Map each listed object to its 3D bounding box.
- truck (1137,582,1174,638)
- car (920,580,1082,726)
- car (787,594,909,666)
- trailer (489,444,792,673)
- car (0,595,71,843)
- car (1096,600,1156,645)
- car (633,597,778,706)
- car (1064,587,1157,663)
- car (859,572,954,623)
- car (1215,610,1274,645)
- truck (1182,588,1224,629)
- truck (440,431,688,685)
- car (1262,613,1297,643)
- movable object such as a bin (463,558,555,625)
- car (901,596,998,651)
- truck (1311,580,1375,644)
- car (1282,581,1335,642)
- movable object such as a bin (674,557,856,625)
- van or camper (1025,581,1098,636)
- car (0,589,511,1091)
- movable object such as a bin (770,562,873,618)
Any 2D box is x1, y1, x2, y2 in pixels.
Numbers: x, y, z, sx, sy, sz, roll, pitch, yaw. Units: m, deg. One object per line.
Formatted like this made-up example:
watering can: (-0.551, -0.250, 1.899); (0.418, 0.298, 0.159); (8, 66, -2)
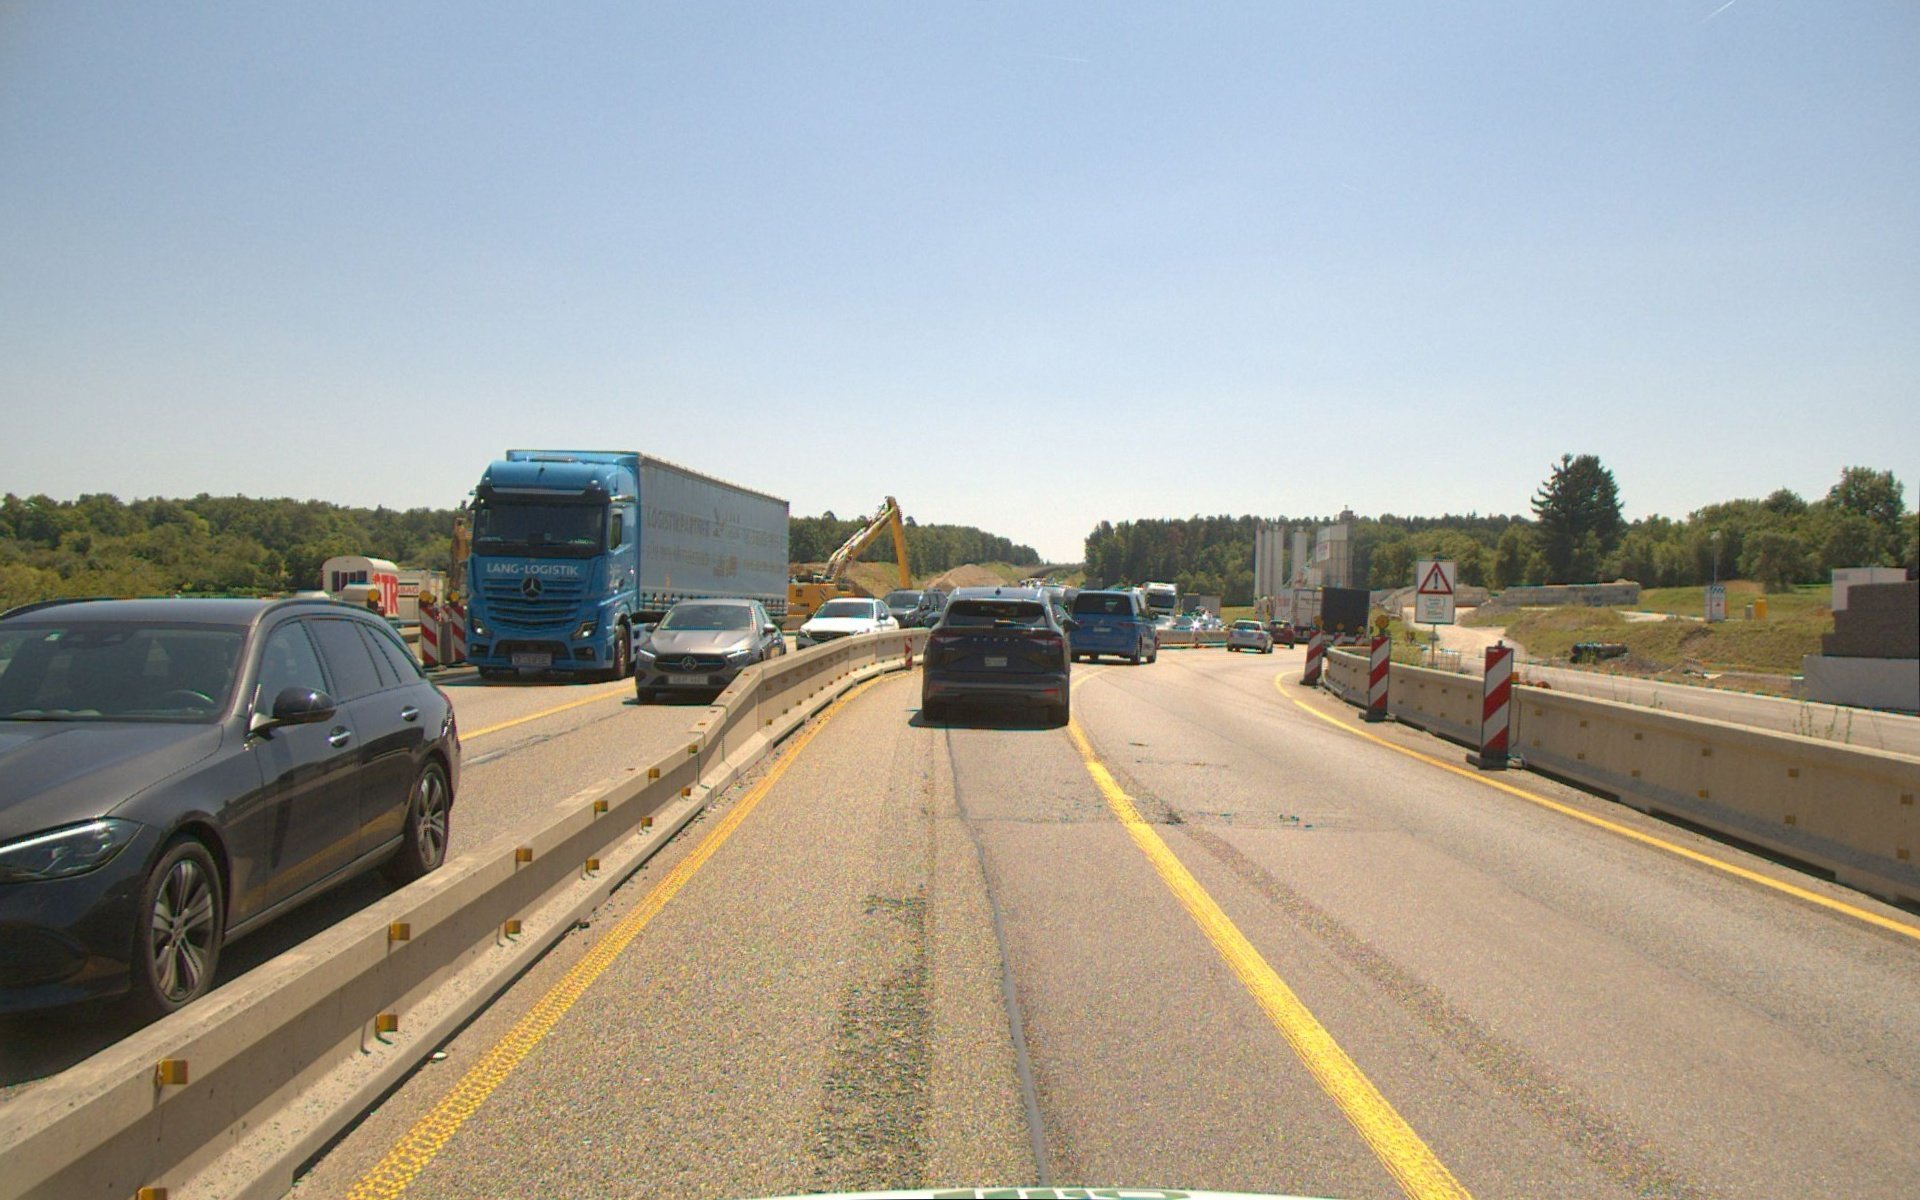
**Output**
truck: (15.880, 0.830, 134.350); (2.712, 4.334, 6.203); (2, 0, 6)
car: (0.470, 0.596, 21.069); (1.805, 1.609, 4.000); (2, 0, 0)
car: (-2.551, 0.645, 38.874); (1.973, 1.469, 4.592); (1, 2, 8)
trailer: (-6.598, -0.841, 37.350); (2.852, 4.201, 13.926); (0, 1, 6)
car: (-6.560, 0.687, 7.991); (1.952, 1.423, 4.581); (1, 0, 1)
car: (7.813, 1.071, 77.356); (1.833, 1.905, 5.061); (3, -1, 16)
car: (-3.717, 0.702, 24.751); (1.557, 1.466, 4.124); (0, 0, -1)
car: (4.132, 0.653, 44.775); (1.951, 1.876, 4.003); (2, 0, 12)
car: (-1.899, -0.059, 60.762); (1.739, 1.796, 4.709); (0, 0, 22)
car: (13.163, 1.227, 76.332); (2.002, 1.553, 5.068); (0, 0, 17)
truck: (28.384, 0.925, 193.686); (3.405, 4.292, 10.380); (6, 1, 2)
truck: (-7.090, -0.738, 30.575); (2.853, 4.201, 6.141); (1, 1, 2)
car: (19.311, 1.690, 99.893); (1.782, 1.673, 3.868); (3, 0, 14)
movable object such as a bin: (-20.716, -0.389, 75.903); (2.853, 2.774, 3.314); (4, 1, -40)
car: (-0.279, 0.716, 51.981); (1.731, 1.636, 4.712); (0, 0, 17)
truck: (18.891, 0.591, 81.349); (2.617, 2.997, 5.623); (1, 0, 17)
car: (26.552, 0.868, 126.405); (3.364, 4.171, 9.204); (5, 0, 10)
movable object such as a bin: (-8.949, -0.428, 75.571); (7.777, 2.474, 3.703); (5, 1, 37)
van or camper: (5.034, 0.426, 80.998); (2.055, 2.586, 6.307); (1, -1, 18)
car: (-3.484, 0.698, 7.242); (1.737, 1.452, 4.770); (0, 1, 0)
movable object such as a bin: (-7.135, -0.476, 85.691); (3.224, 2.482, 5.441); (5, 0, 19)
